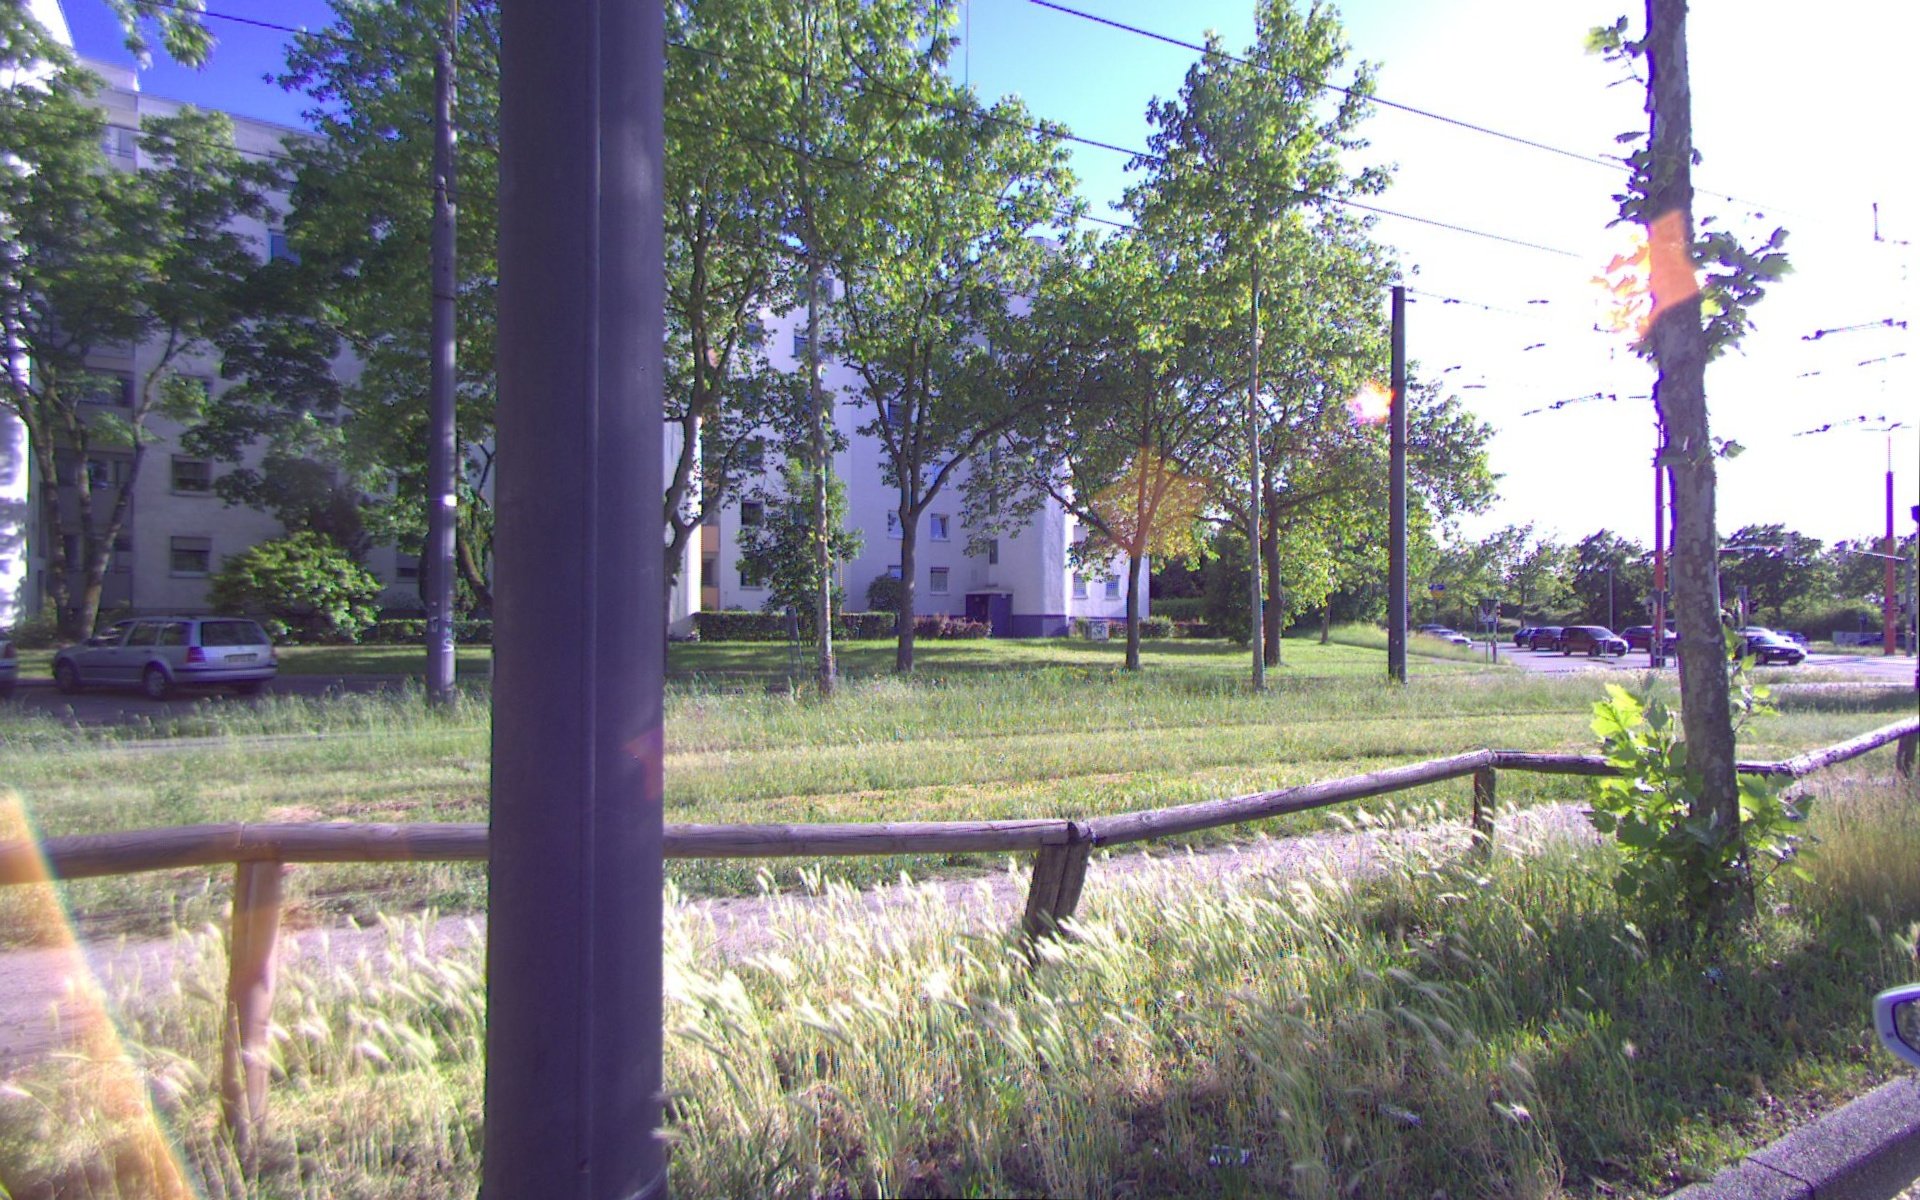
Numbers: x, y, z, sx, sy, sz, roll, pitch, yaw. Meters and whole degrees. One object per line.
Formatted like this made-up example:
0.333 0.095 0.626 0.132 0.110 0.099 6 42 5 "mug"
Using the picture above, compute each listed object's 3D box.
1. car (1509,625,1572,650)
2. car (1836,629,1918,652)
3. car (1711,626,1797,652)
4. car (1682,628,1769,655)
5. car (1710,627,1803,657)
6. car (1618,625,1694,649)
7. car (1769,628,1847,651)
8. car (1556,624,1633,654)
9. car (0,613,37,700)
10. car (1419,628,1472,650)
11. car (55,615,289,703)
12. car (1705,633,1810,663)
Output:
41.564 2.671 72.028 1.806 1.690 4.565 1 -1 -1 "car"
68.802 3.018 75.427 1.961 1.617 4.466 1 -1 -3 "car"
48.622 2.390 61.643 1.877 1.483 4.222 1 -1 -2 "car"
45.659 2.463 60.043 1.877 1.483 4.222 1 -1 -2 "car"
42.854 2.257 54.170 1.719 1.499 4.234 1 -1 0 "car"
45.527 2.405 65.808 1.877 1.483 4.373 1 -1 -2 "car"
64.772 3.004 76.858 1.962 1.617 4.464 1 -1 -6 "car"
39.232 2.392 62.218 1.807 1.755 4.356 1 -1 -4 "car"
-17.919 0.928 17.140 3.609 1.452 1.703 0 -1 20 "car"
38.402 3.039 79.591 1.960 1.596 4.931 1 -1 2 "car"
-14.476 1.027 18.484 3.609 1.452 1.732 0 -1 20 "car"
39.228 2.334 49.561 1.727 1.344 4.318 1 -1 0 "car"
